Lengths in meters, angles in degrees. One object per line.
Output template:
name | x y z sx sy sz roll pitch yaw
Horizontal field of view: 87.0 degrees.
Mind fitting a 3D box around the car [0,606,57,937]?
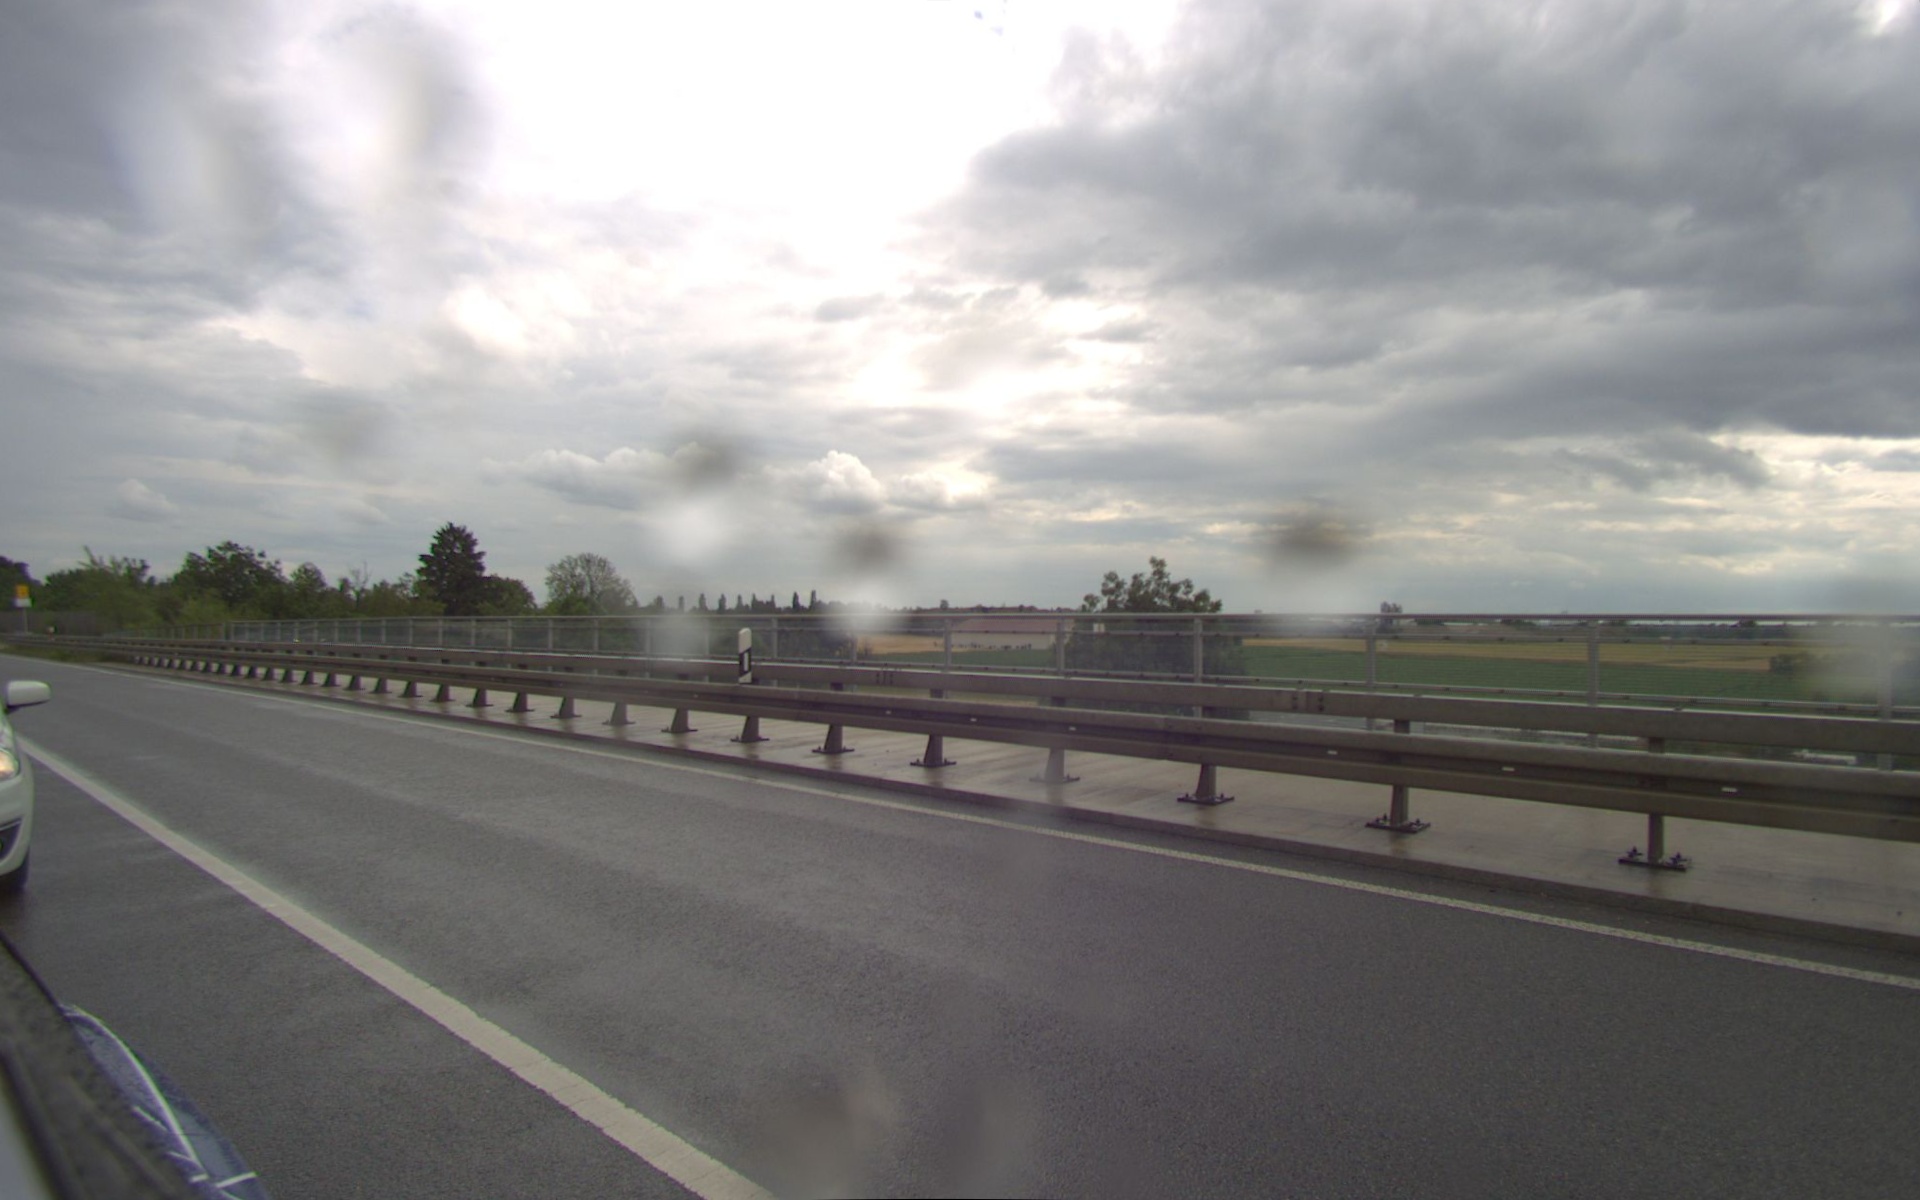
car | -6.316 0.798 5.461 4.127 1.496 1.653 -1 0 41
